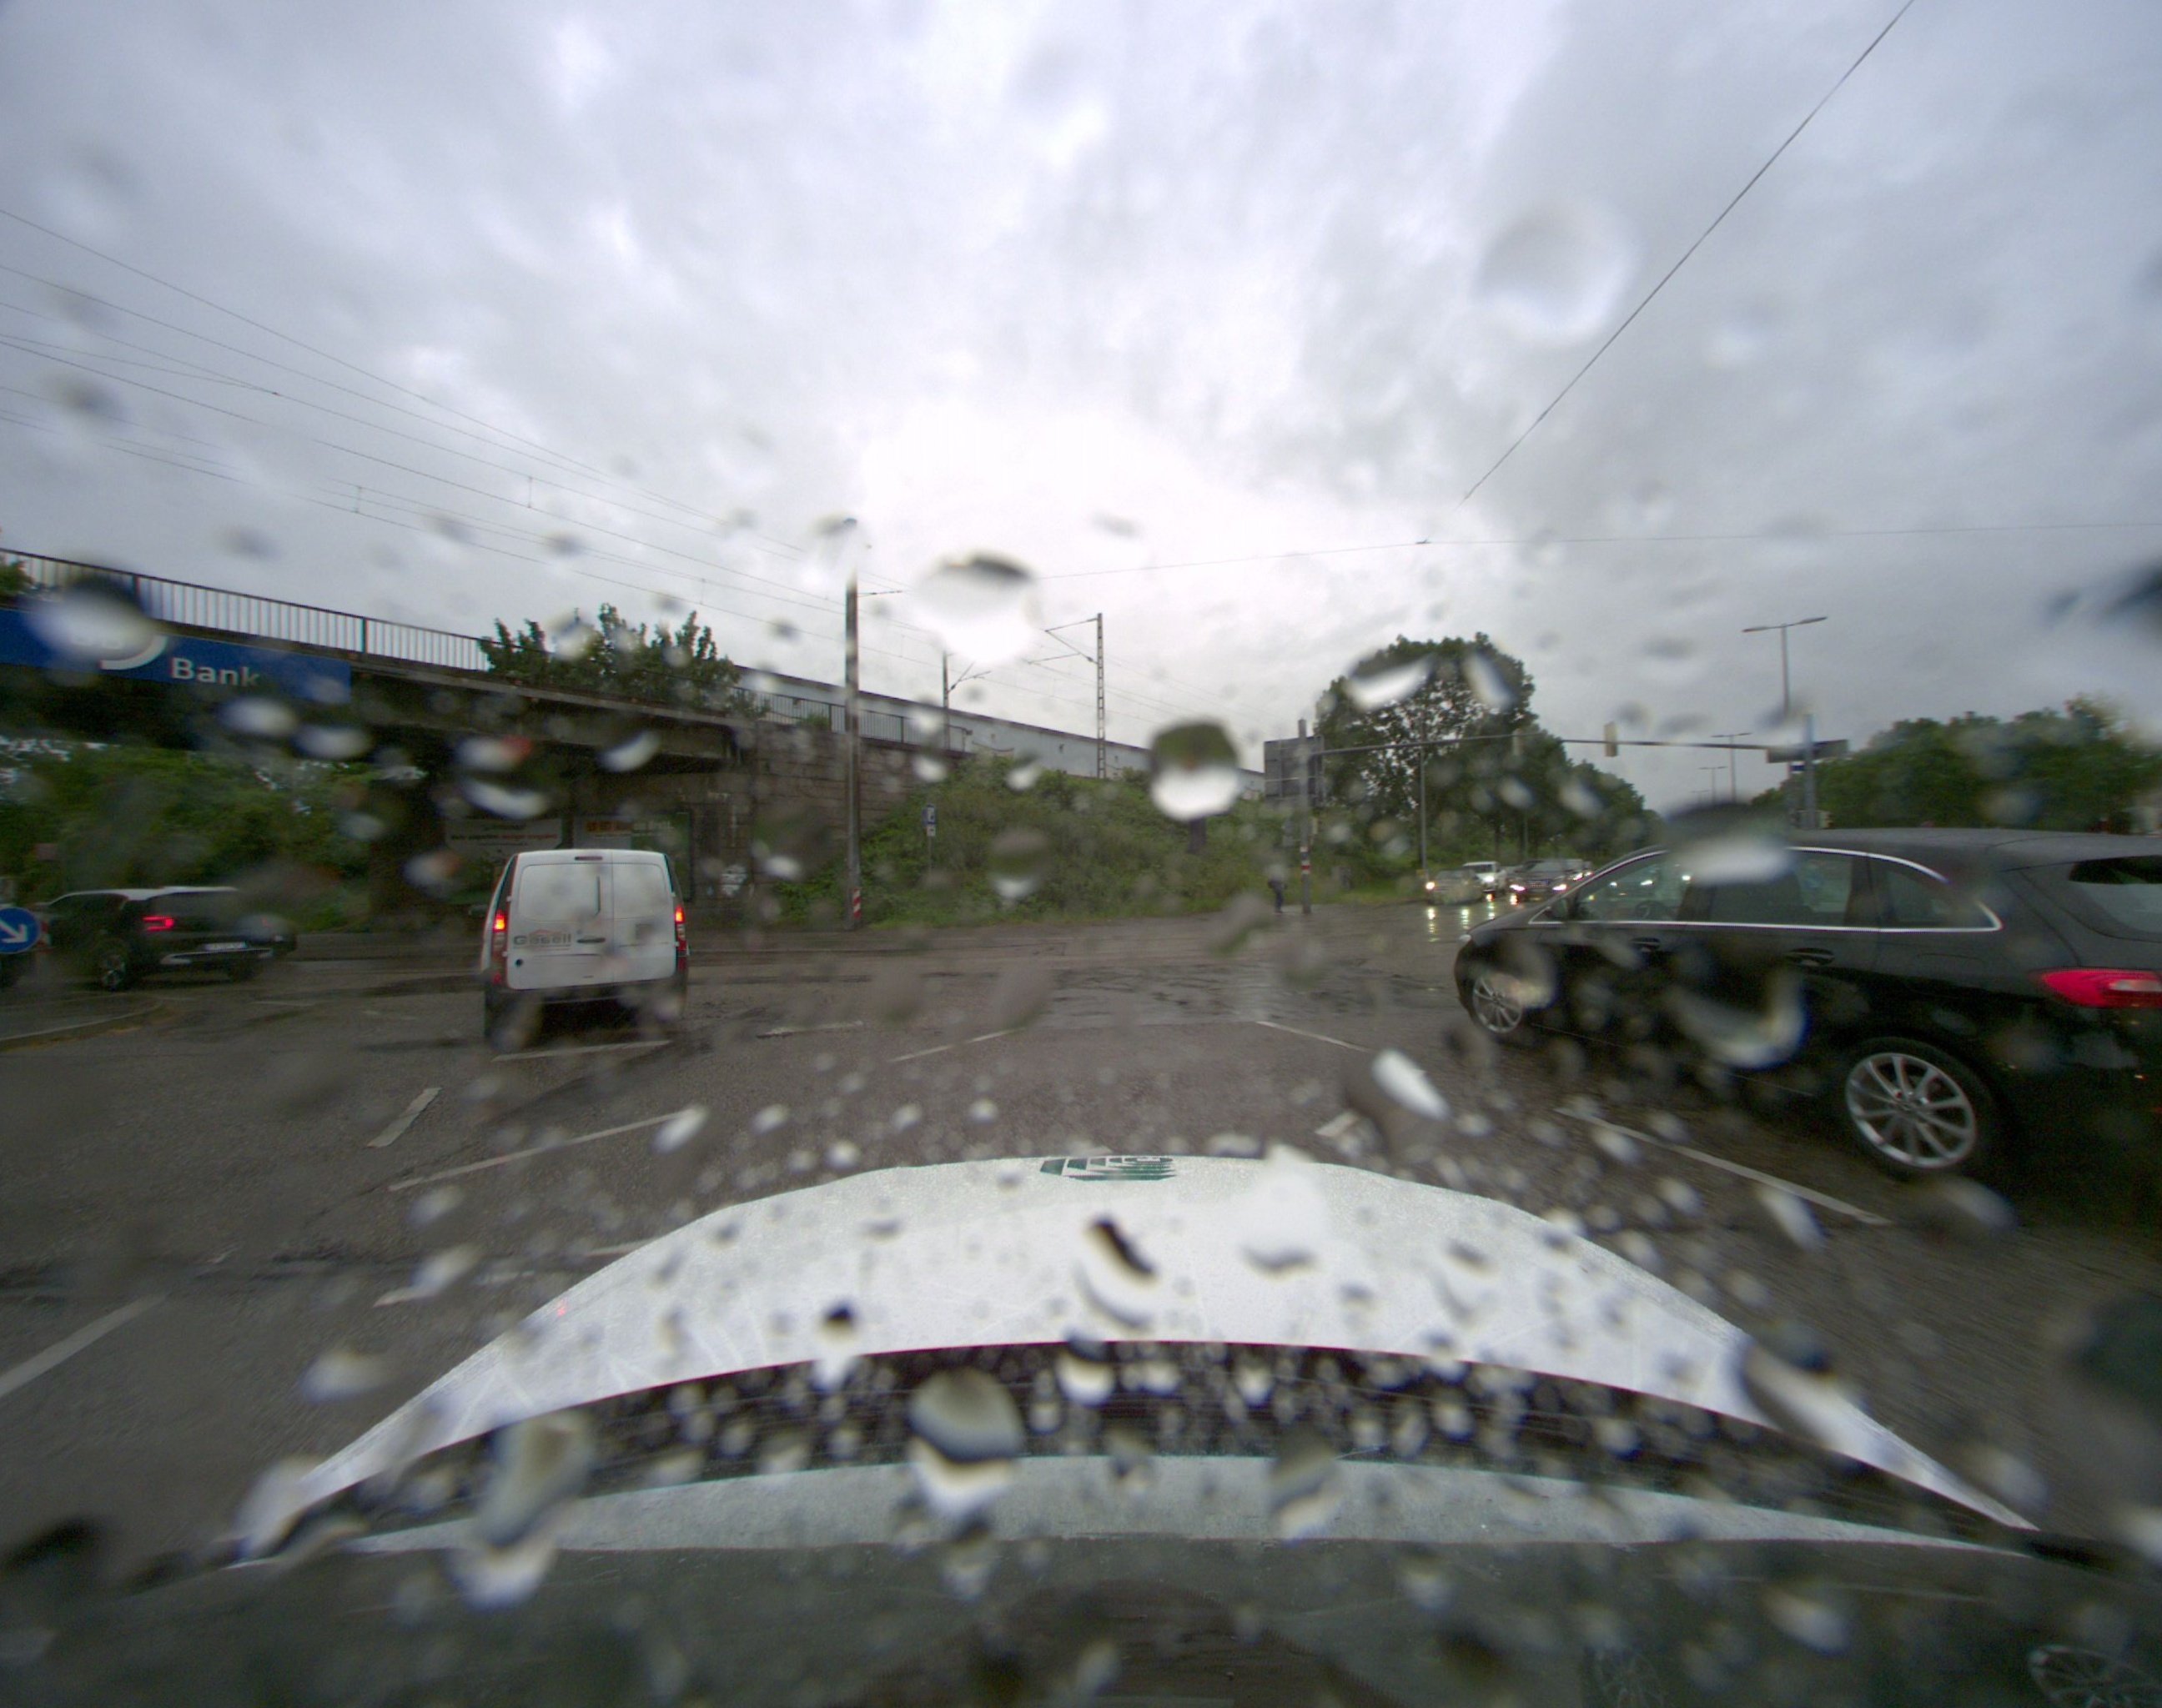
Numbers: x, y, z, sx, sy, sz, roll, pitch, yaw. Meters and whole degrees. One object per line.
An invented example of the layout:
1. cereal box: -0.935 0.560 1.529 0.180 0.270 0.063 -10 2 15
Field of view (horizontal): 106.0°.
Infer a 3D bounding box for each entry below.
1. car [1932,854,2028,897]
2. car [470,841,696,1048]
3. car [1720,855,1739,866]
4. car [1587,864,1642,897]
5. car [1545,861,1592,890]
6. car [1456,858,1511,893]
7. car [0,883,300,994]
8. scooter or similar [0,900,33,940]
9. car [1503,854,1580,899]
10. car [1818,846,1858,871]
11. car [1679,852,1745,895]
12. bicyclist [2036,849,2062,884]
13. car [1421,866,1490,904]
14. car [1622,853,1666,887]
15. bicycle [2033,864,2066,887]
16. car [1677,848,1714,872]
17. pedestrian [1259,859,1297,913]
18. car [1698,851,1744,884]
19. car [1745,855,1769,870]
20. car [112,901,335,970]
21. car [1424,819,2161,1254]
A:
1. car: 33.290 0.769 30.275 1.662 1.491 3.644 -1 0 36
2. car: -5.766 0.849 9.277 1.769 1.777 3.956 -2 -1 -36
3. car: 98.135 1.000 123.312 1.977 1.618 4.025 -2 -1 35
4. car: 23.754 1.152 36.385 1.809 1.358 4.025 -2 -1 30
5. car: 25.442 1.115 42.435 1.809 1.358 4.025 -2 -1 34
6. car: 18.867 0.989 38.109 1.809 1.483 4.025 -2 -1 33
7. car: -15.768 1.367 13.678 3.959 1.609 1.930 -2 -1 13
8. scooter or similar: -33.541 2.047 25.236 1.530 1.178 0.777 -1 1 18
9. car: 18.598 0.888 32.798 2.003 1.657 4.087 -2 -1 39
10. car: 51.928 0.268 55.902 1.617 1.655 3.507 0 0 36
11. car: 27.628 0.832 35.683 2.148 1.720 4.330 -2 -1 38
12. bicyclist: 52.891 0.674 44.497 0.760 1.882 0.626 -3 -2 41
13. car: 15.199 1.220 32.915 1.874 1.349 4.026 -2 -1 34
14. car: 30.916 0.849 44.733 1.846 1.720 4.026 -2 -1 35
15. bicycle: 52.970 1.167 44.557 0.811 1.165 2.274 -2 -1 41
16. car: 45.975 0.455 60.967 1.919 1.720 4.025 -2 -1 33
17. pedestrian: 6.397 1.019 26.444 0.992 1.719 0.825 -2 -1 28
18. car: 34.953 0.719 44.536 1.584 1.720 4.025 -2 -1 33
19. car: 71.648 0.895 86.331 1.825 1.618 4.025 0 0 37
20. car: -18.423 1.723 17.581 3.229 1.283 1.689 -2 -1 7
21. car: 4.137 0.660 5.039 1.869 1.523 4.075 -1 -1 -8
